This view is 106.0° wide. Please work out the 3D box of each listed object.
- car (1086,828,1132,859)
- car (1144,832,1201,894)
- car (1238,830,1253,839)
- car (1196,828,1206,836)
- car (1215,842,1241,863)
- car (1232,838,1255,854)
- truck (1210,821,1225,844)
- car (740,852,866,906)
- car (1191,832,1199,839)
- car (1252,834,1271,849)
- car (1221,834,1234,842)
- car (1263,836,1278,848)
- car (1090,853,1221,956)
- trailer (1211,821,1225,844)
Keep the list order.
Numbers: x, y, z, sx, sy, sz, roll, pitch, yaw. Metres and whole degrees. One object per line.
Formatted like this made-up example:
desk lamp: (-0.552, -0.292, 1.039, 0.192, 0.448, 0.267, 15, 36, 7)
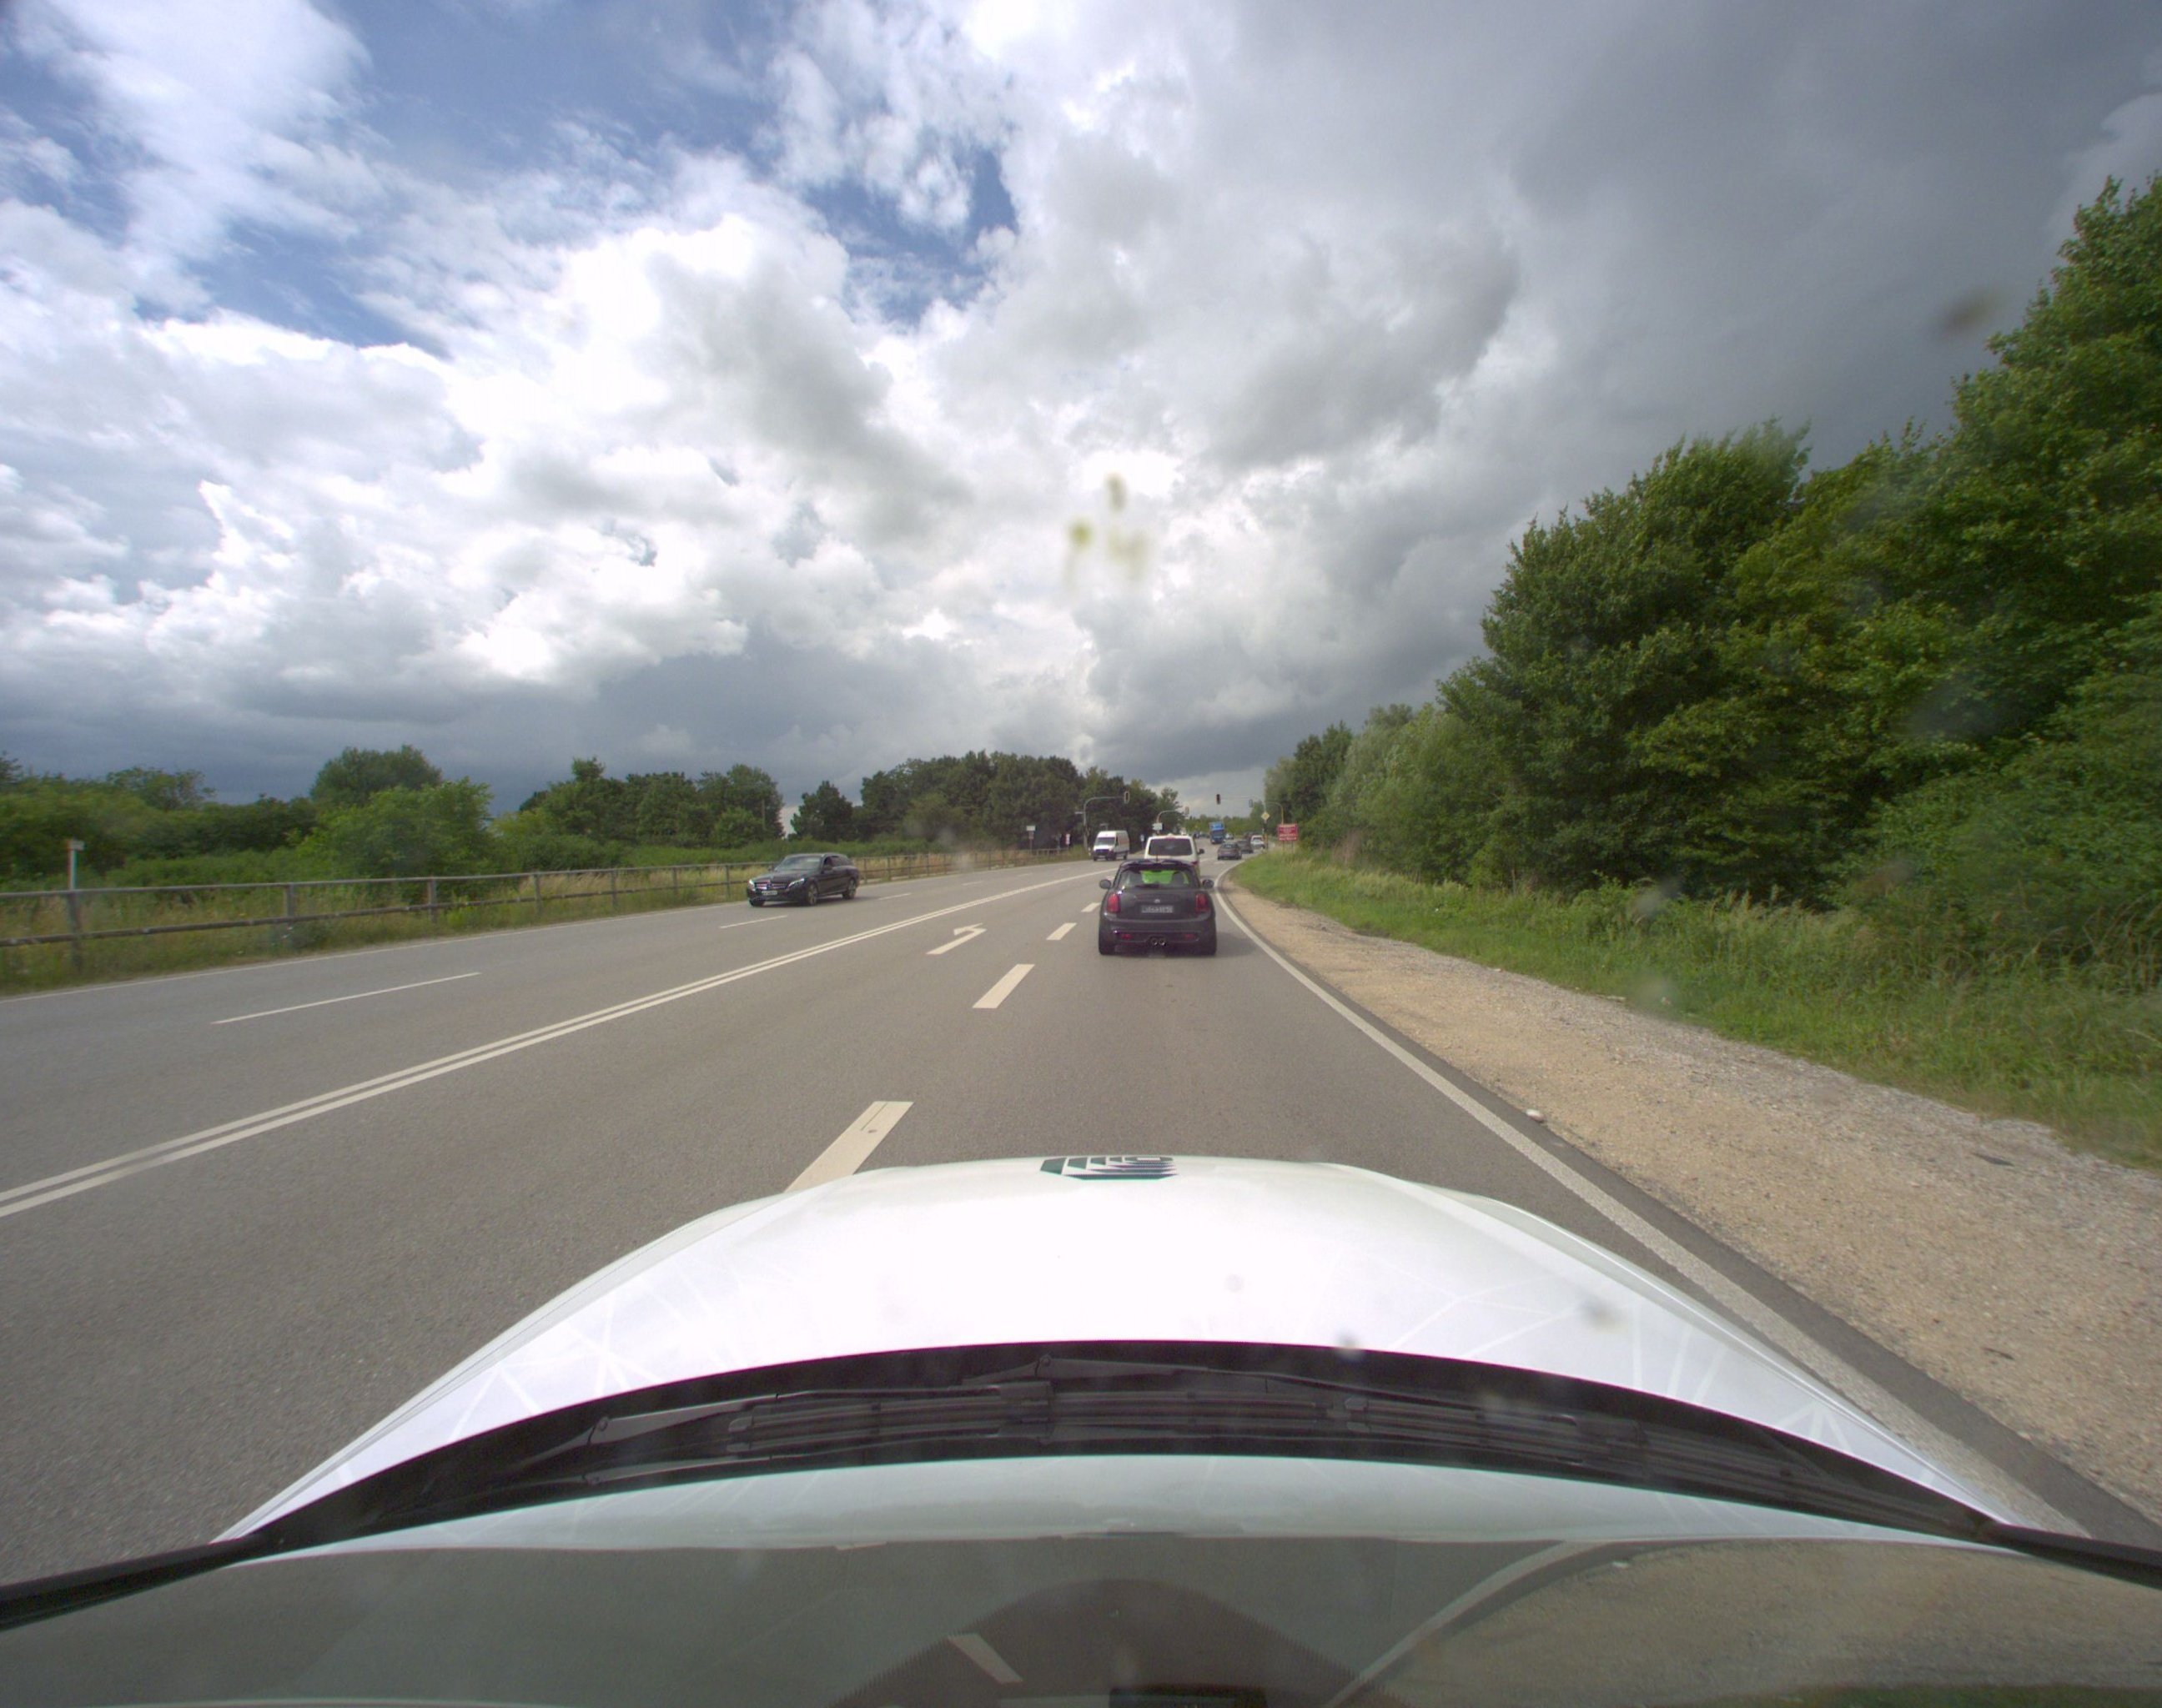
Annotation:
car: (2.627, -0.917, 73.436, 2.415, 2.674, 6.918, -1, 0, 16)
car: (3.224, 0.259, 28.359, 1.835, 1.986, 3.850, -1, 1, 8)
car: (31.982, -3.747, 158.626, 1.987, 1.695, 4.484, -1, 1, -1)
car: (33.974, -6.172, 229.845, 2.174, 2.014, 3.998, 0, -1, -1)
car: (12.728, -0.114, 70.143, 1.980, 1.684, 4.014, 0, -1, 13)
car: (17.622, -0.856, 88.003, 1.977, 1.684, 3.996, 0, -1, 18)
truck: (24.928, -3.932, 148.471, 2.524, 4.096, 4.012, -1, 1, 10)
car: (-8.186, 0.680, 24.451, 1.799, 1.441, 4.362, -1, 0, 7)
car: (34.971, -5.669, 249.207, 1.987, 2.014, 4.000, 0, -1, 1)
car: (23.135, -1.581, 104.272, 1.977, 1.684, 4.019, 0, -1, 19)
car: (32.117, -3.559, 179.032, 1.987, 1.787, 4.484, -2, 1, -1)
car: (28.732, -1.776, 123.592, 1.978, 1.684, 4.017, 0, -1, 16)
car: (1.194, 0.721, 13.455, 1.836, 1.428, 3.845, 0, 0, 4)
trailer: (25.555, -3.998, 151.955, 2.512, 4.100, 6.753, -1, 1, 9)
